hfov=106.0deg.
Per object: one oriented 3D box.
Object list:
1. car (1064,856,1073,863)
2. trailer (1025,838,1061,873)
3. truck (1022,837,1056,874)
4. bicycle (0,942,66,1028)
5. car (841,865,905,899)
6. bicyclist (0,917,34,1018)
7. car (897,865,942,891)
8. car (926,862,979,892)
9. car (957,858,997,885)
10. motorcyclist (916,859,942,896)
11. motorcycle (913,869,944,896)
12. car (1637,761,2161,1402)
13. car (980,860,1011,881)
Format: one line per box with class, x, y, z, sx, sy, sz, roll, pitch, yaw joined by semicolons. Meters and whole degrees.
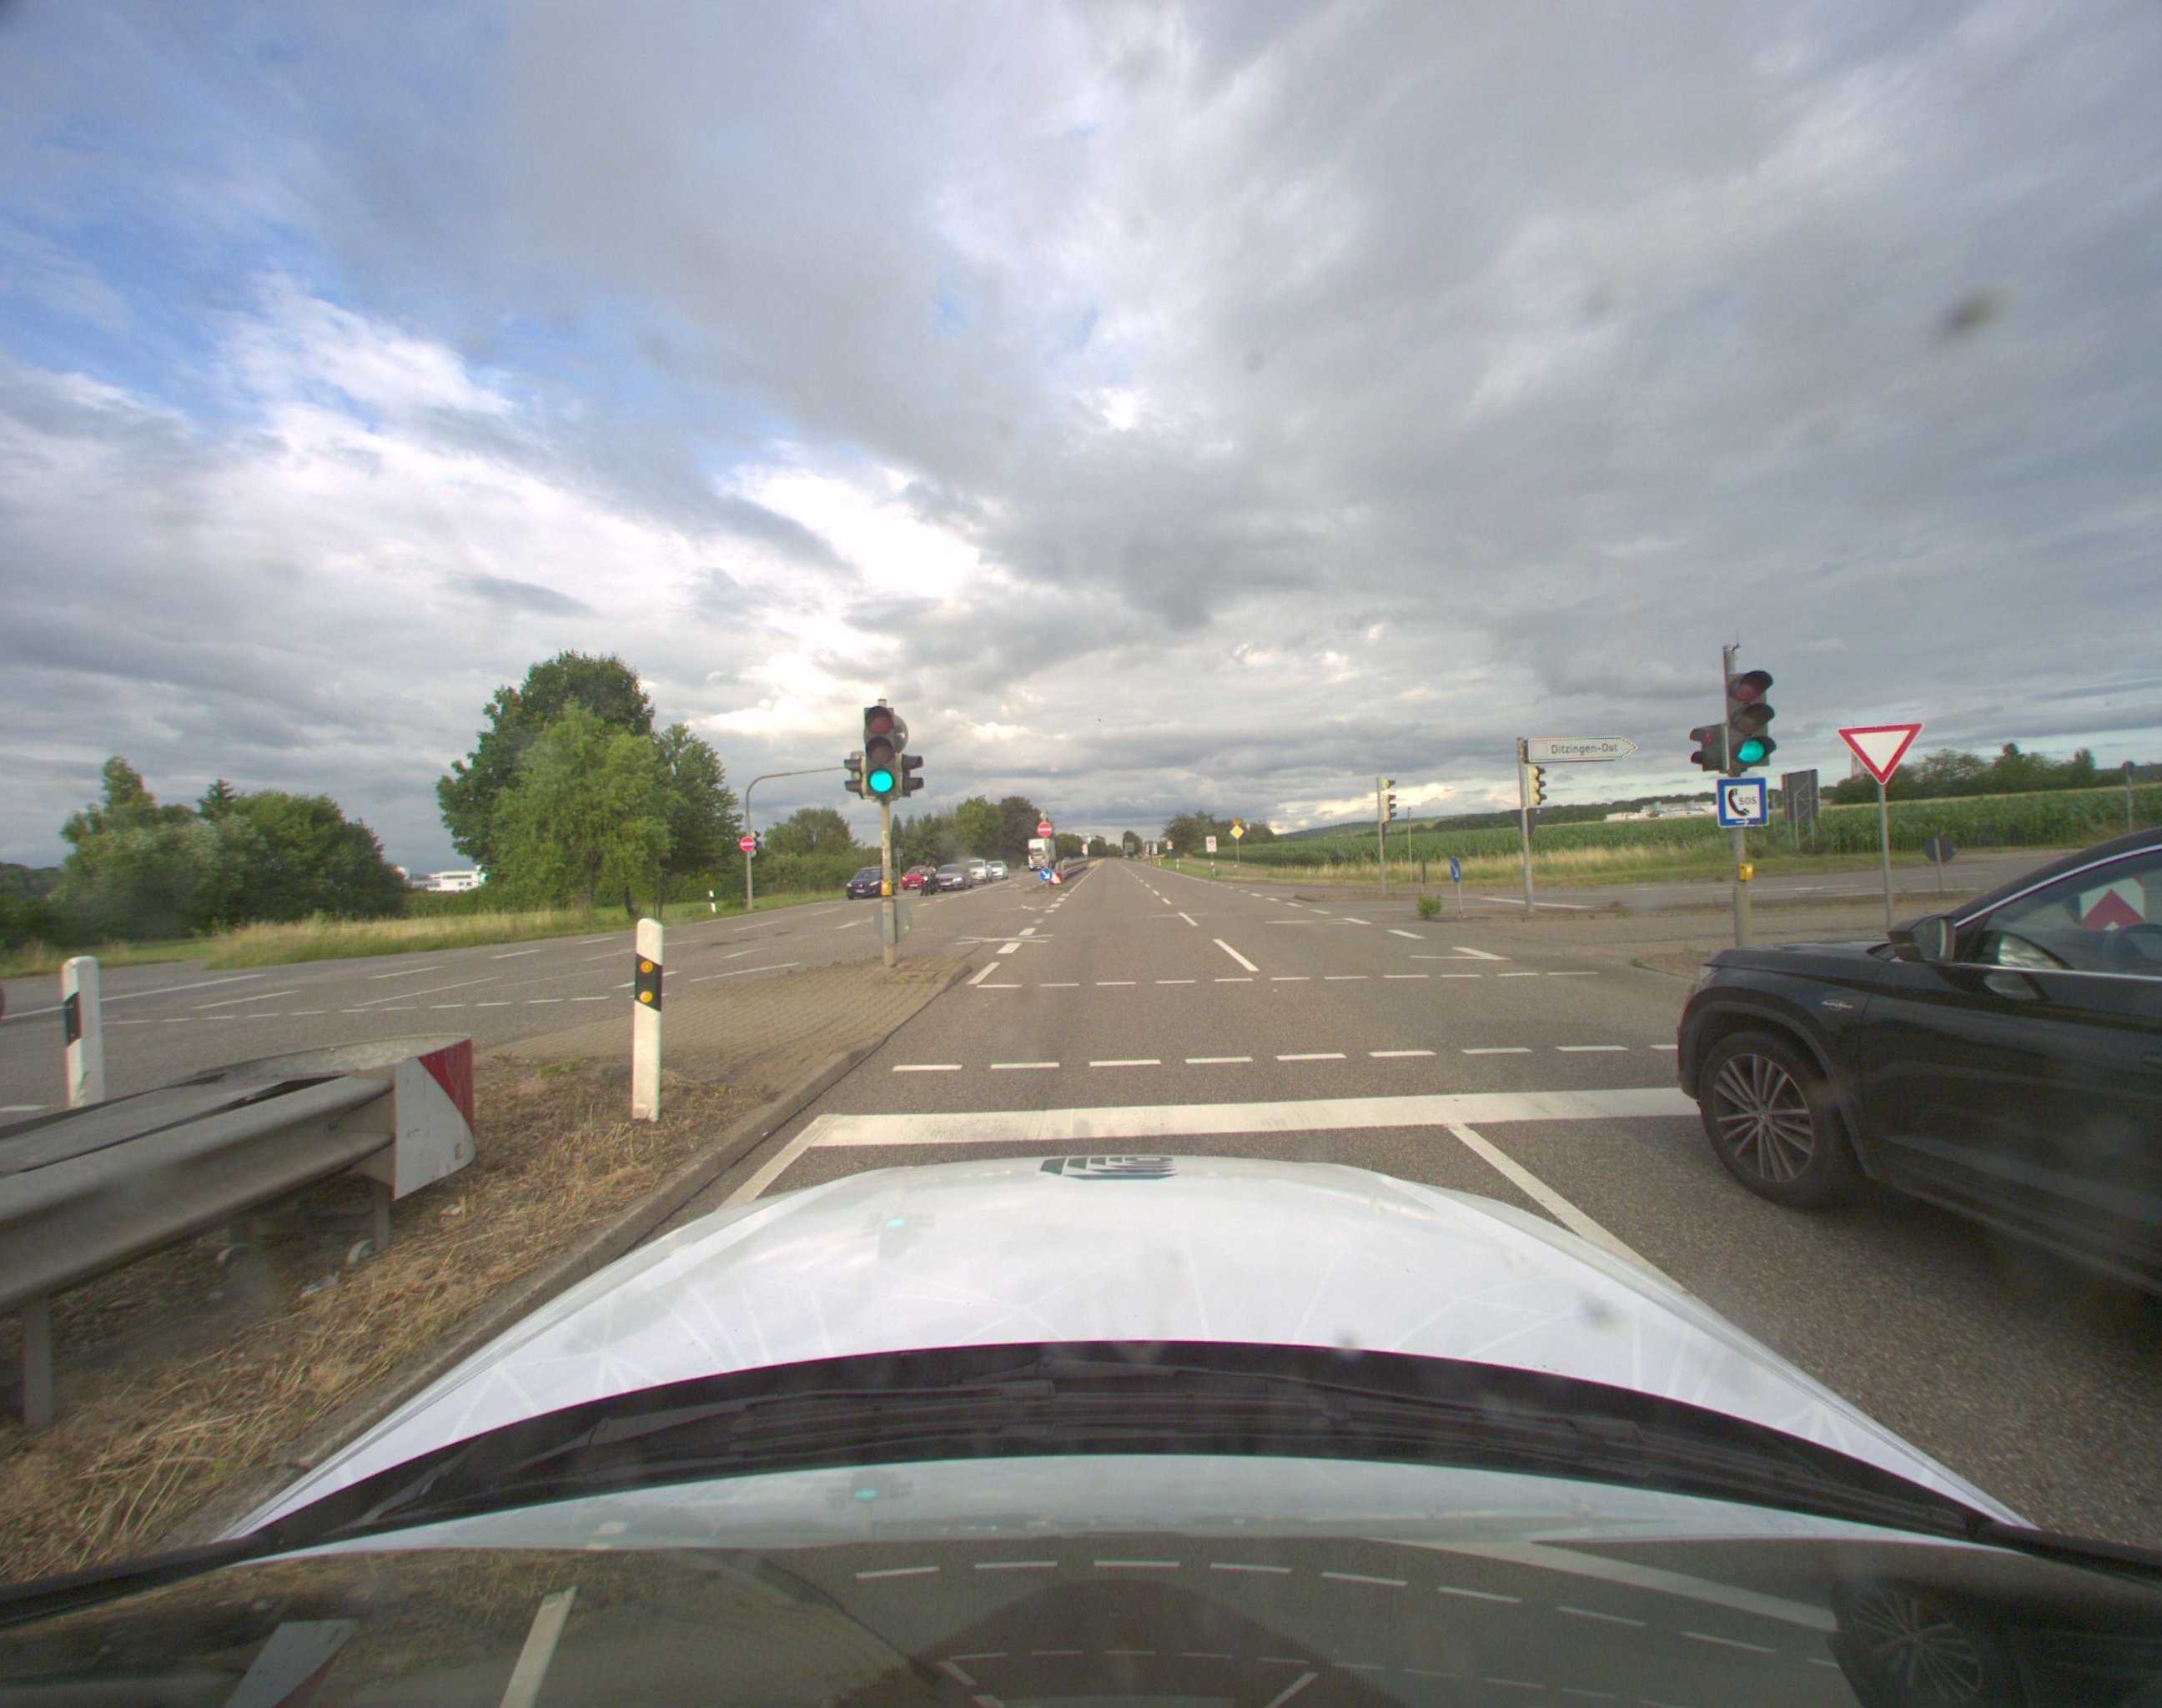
car;-2.878;1.229;182.711;1.782;1.386;4.162;-3;0;2
trailer;-4.912;0.194;108.565;3.452;4.150;13.922;-4;0;2
truck;-5.146;0.191;102.022;3.462;4.150;6.052;-4;0;2
bicycle;-16.496;1.961;11.976;2.307;1.137;0.817;-3;0;7
car;-10.880;1.425;43.009;1.900;1.535;4.940;-3;0;2
bicyclist;-16.538;1.715;11.993;1.216;1.451;0.817;-3;0;7
car;-10.499;1.524;53.301;1.900;1.465;4.186;-3;0;2
car;-7.100;1.222;45.501;1.900;1.428;5.154;-3;0;2
car;-6.976;1.128;54.861;1.900;1.610;4.406;-3;0;2
motorcyclist;-7.457;1.136;39.951;0.913;1.709;1.276;-3;-1;2
motorcycle;-7.453;1.372;39.950;0.913;1.203;2.480;-3;-1;2
car;3.696;0.581;1.884;1.838;1.650;4.482;0;0;1
car;-6.600;1.250;63.094;1.782;1.444;4.162;-3;0;2
